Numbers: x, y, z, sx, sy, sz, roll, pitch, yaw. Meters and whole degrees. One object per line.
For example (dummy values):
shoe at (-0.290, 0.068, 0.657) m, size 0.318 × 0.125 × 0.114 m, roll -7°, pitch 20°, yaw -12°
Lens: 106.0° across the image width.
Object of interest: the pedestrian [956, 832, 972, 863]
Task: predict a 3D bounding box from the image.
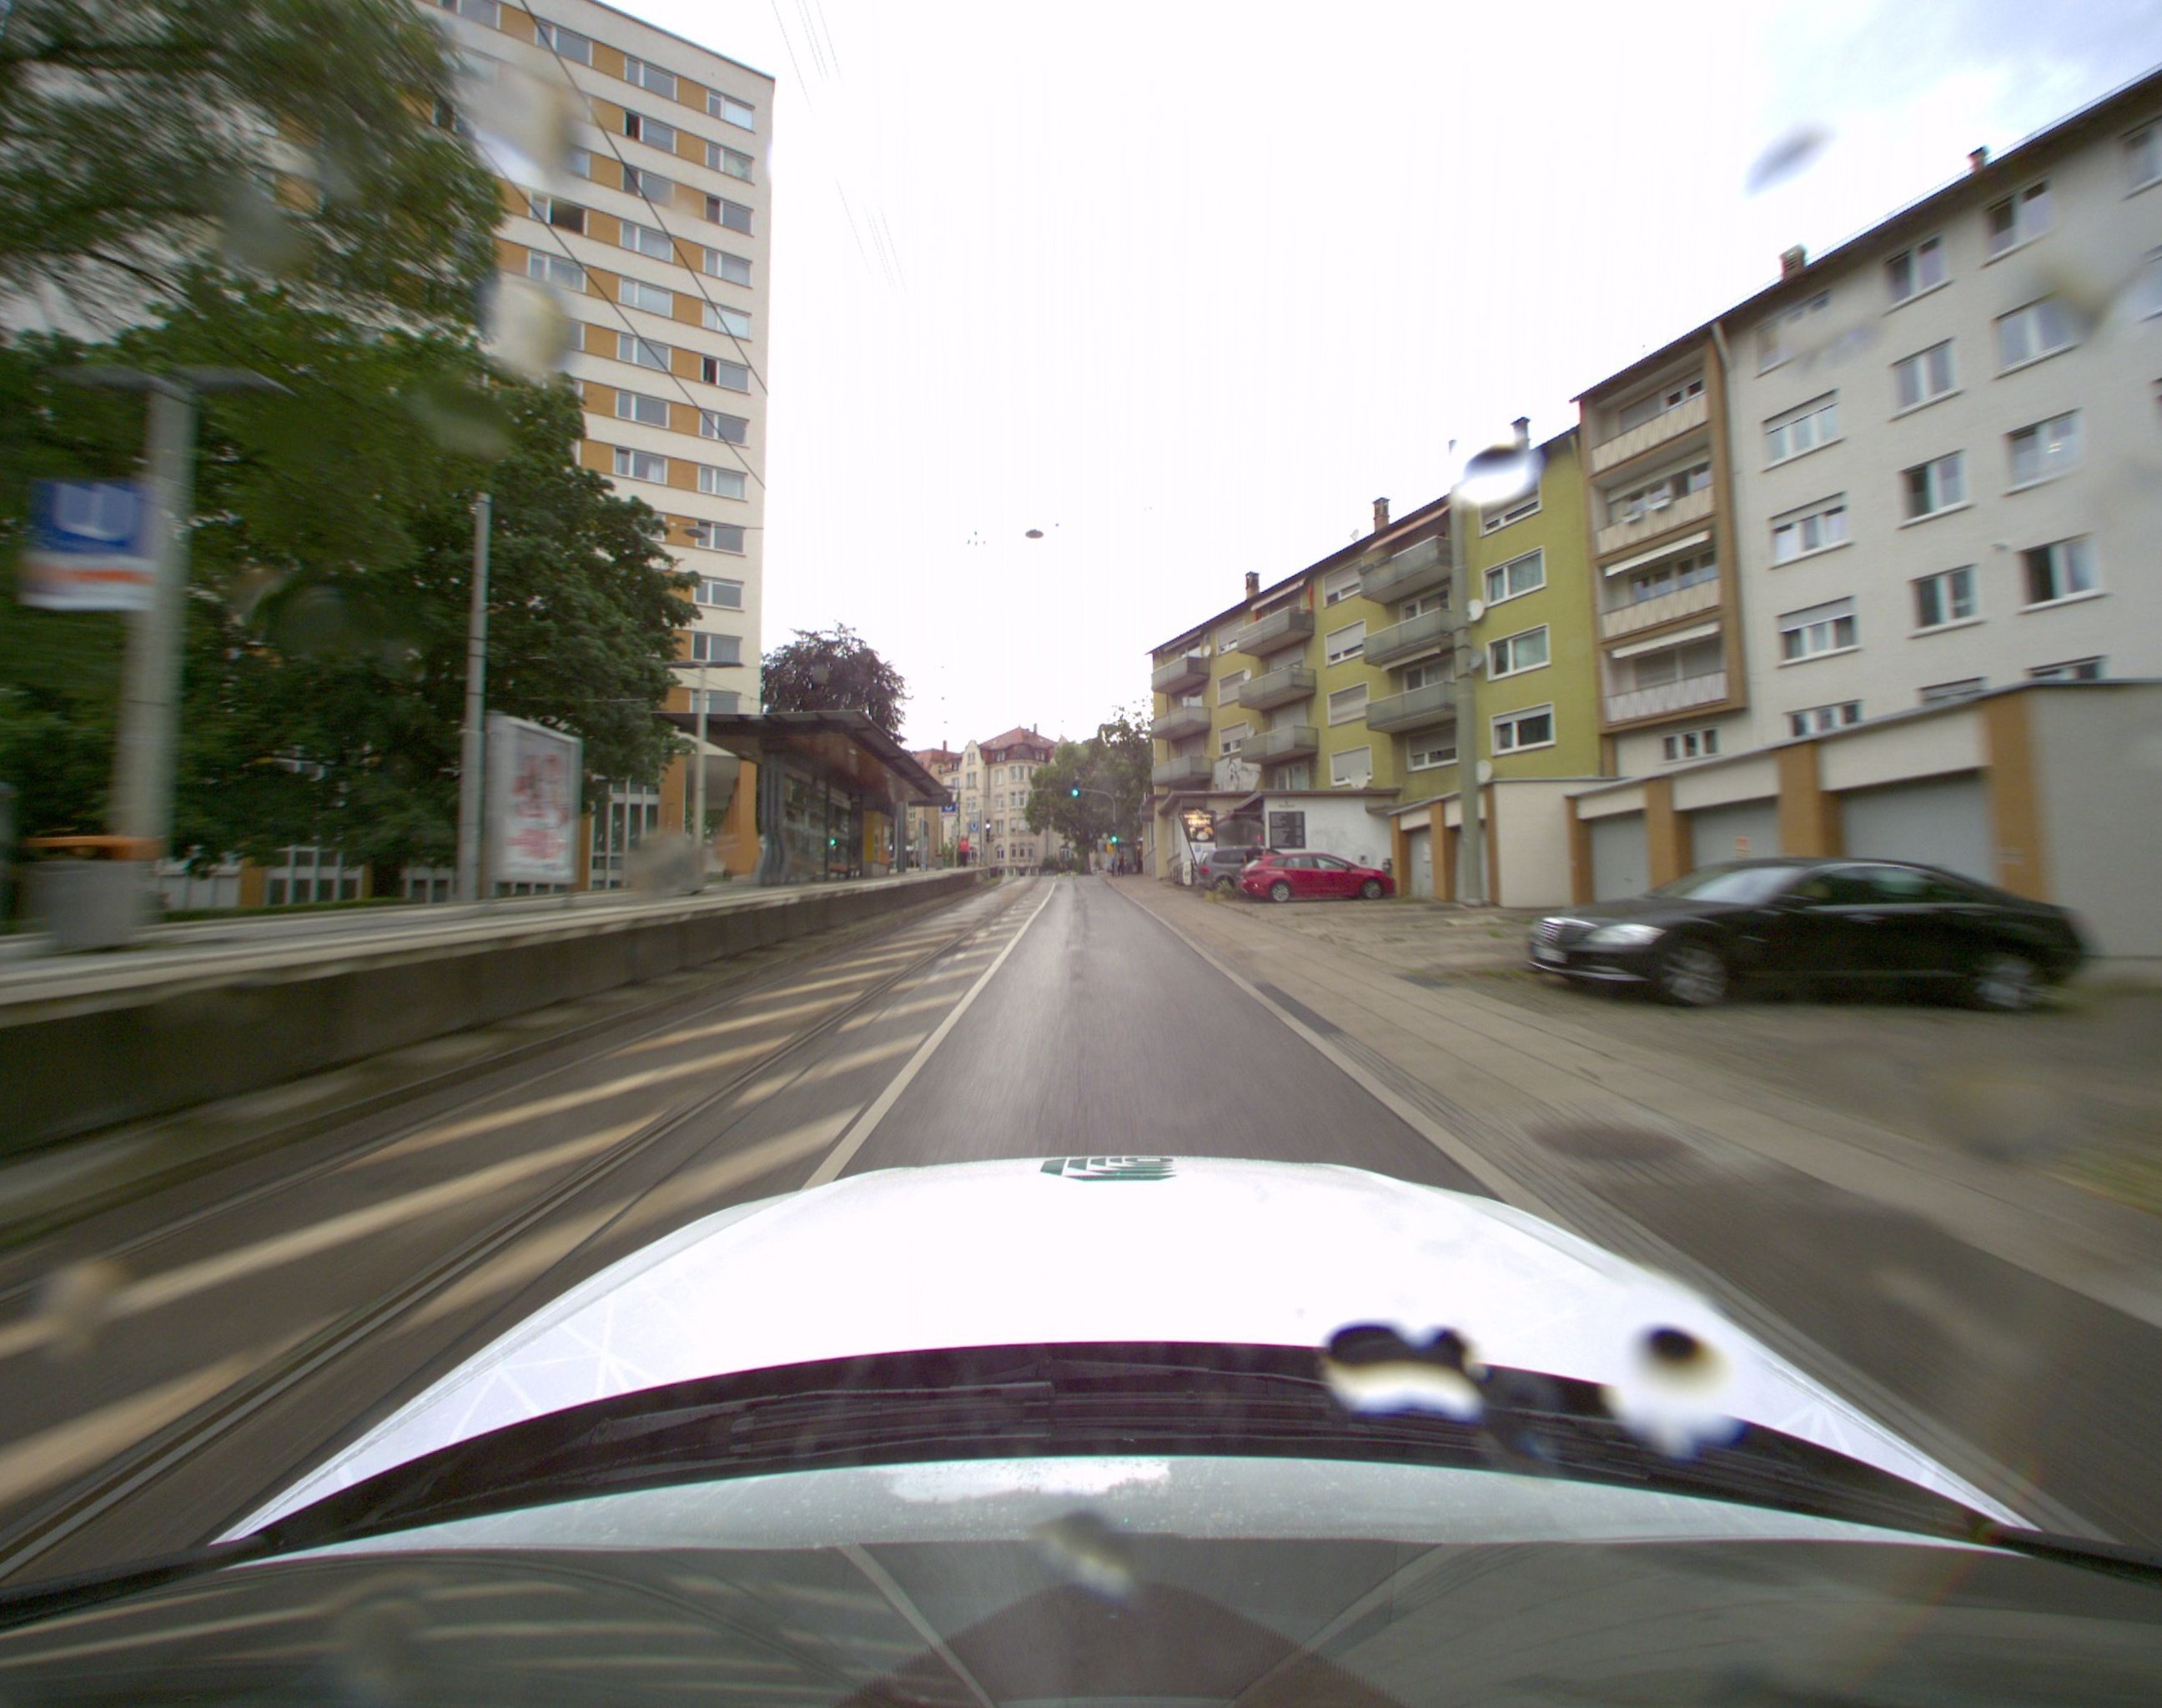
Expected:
pedestrian at (-5.897, -0.318, 40.987) m, size 0.669 × 1.548 × 0.771 m, roll -1°, pitch 0°, yaw -2°

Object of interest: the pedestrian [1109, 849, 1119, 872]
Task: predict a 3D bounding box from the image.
pedestrian at (2.226, 0.417, 55.107) m, size 0.586 × 1.554 × 0.649 m, roll -2°, pitch 0°, yaw -2°

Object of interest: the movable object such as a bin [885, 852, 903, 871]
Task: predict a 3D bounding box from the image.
movable object such as a bin at (-14.493, 0.584, 63.282) m, size 1.017 × 1.434 × 1.444 m, roll 1°, pitch 0°, yaw 1°

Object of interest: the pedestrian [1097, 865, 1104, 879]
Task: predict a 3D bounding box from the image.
pedestrian at (2.322, 2.134, 96.836) m, size 0.548 × 1.629 × 0.595 m, roll 2°, pitch 0°, yaw -34°

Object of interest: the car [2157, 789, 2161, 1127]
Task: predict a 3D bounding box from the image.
car at (6.767, 0.497, 2.863) m, size 3.981 × 1.467 × 1.813 m, roll 1°, pitch 0°, yaw -6°

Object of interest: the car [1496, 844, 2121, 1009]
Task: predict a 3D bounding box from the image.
car at (7.344, 0.699, 8.635) m, size 4.916 × 1.437 × 1.974 m, roll 1°, pitch -1°, yaw -1°

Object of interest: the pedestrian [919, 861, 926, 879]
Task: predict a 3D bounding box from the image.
pedestrian at (-14.843, 1.500, 76.069) m, size 0.568 × 1.684 × 0.773 m, roll -1°, pitch -2°, yaw -8°

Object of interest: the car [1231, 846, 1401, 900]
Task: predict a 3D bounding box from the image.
car at (6.962, 0.553, 24.395) m, size 4.556 × 1.437 × 1.764 m, roll -2°, pitch 0°, yaw -2°

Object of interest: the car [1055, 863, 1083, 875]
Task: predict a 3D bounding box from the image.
car at (-1.676, 2.112, 112.363) m, size 3.691 × 1.508 × 1.716 m, roll -1°, pitch -1°, yaw -43°

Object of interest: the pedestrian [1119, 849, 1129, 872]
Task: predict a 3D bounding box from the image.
pedestrian at (2.944, 0.424, 55.412) m, size 0.544 × 1.554 × 0.558 m, roll -2°, pitch 0°, yaw -3°

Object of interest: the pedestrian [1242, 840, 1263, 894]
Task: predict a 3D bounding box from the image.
pedestrian at (5.643, 0.413, 26.727) m, size 0.602 × 1.714 × 0.723 m, roll -2°, pitch 0°, yaw 12°

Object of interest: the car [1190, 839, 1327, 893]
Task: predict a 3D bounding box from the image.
car at (6.042, 0.407, 28.062) m, size 4.312 × 1.674 × 1.781 m, roll -2°, pitch 0°, yaw 1°
